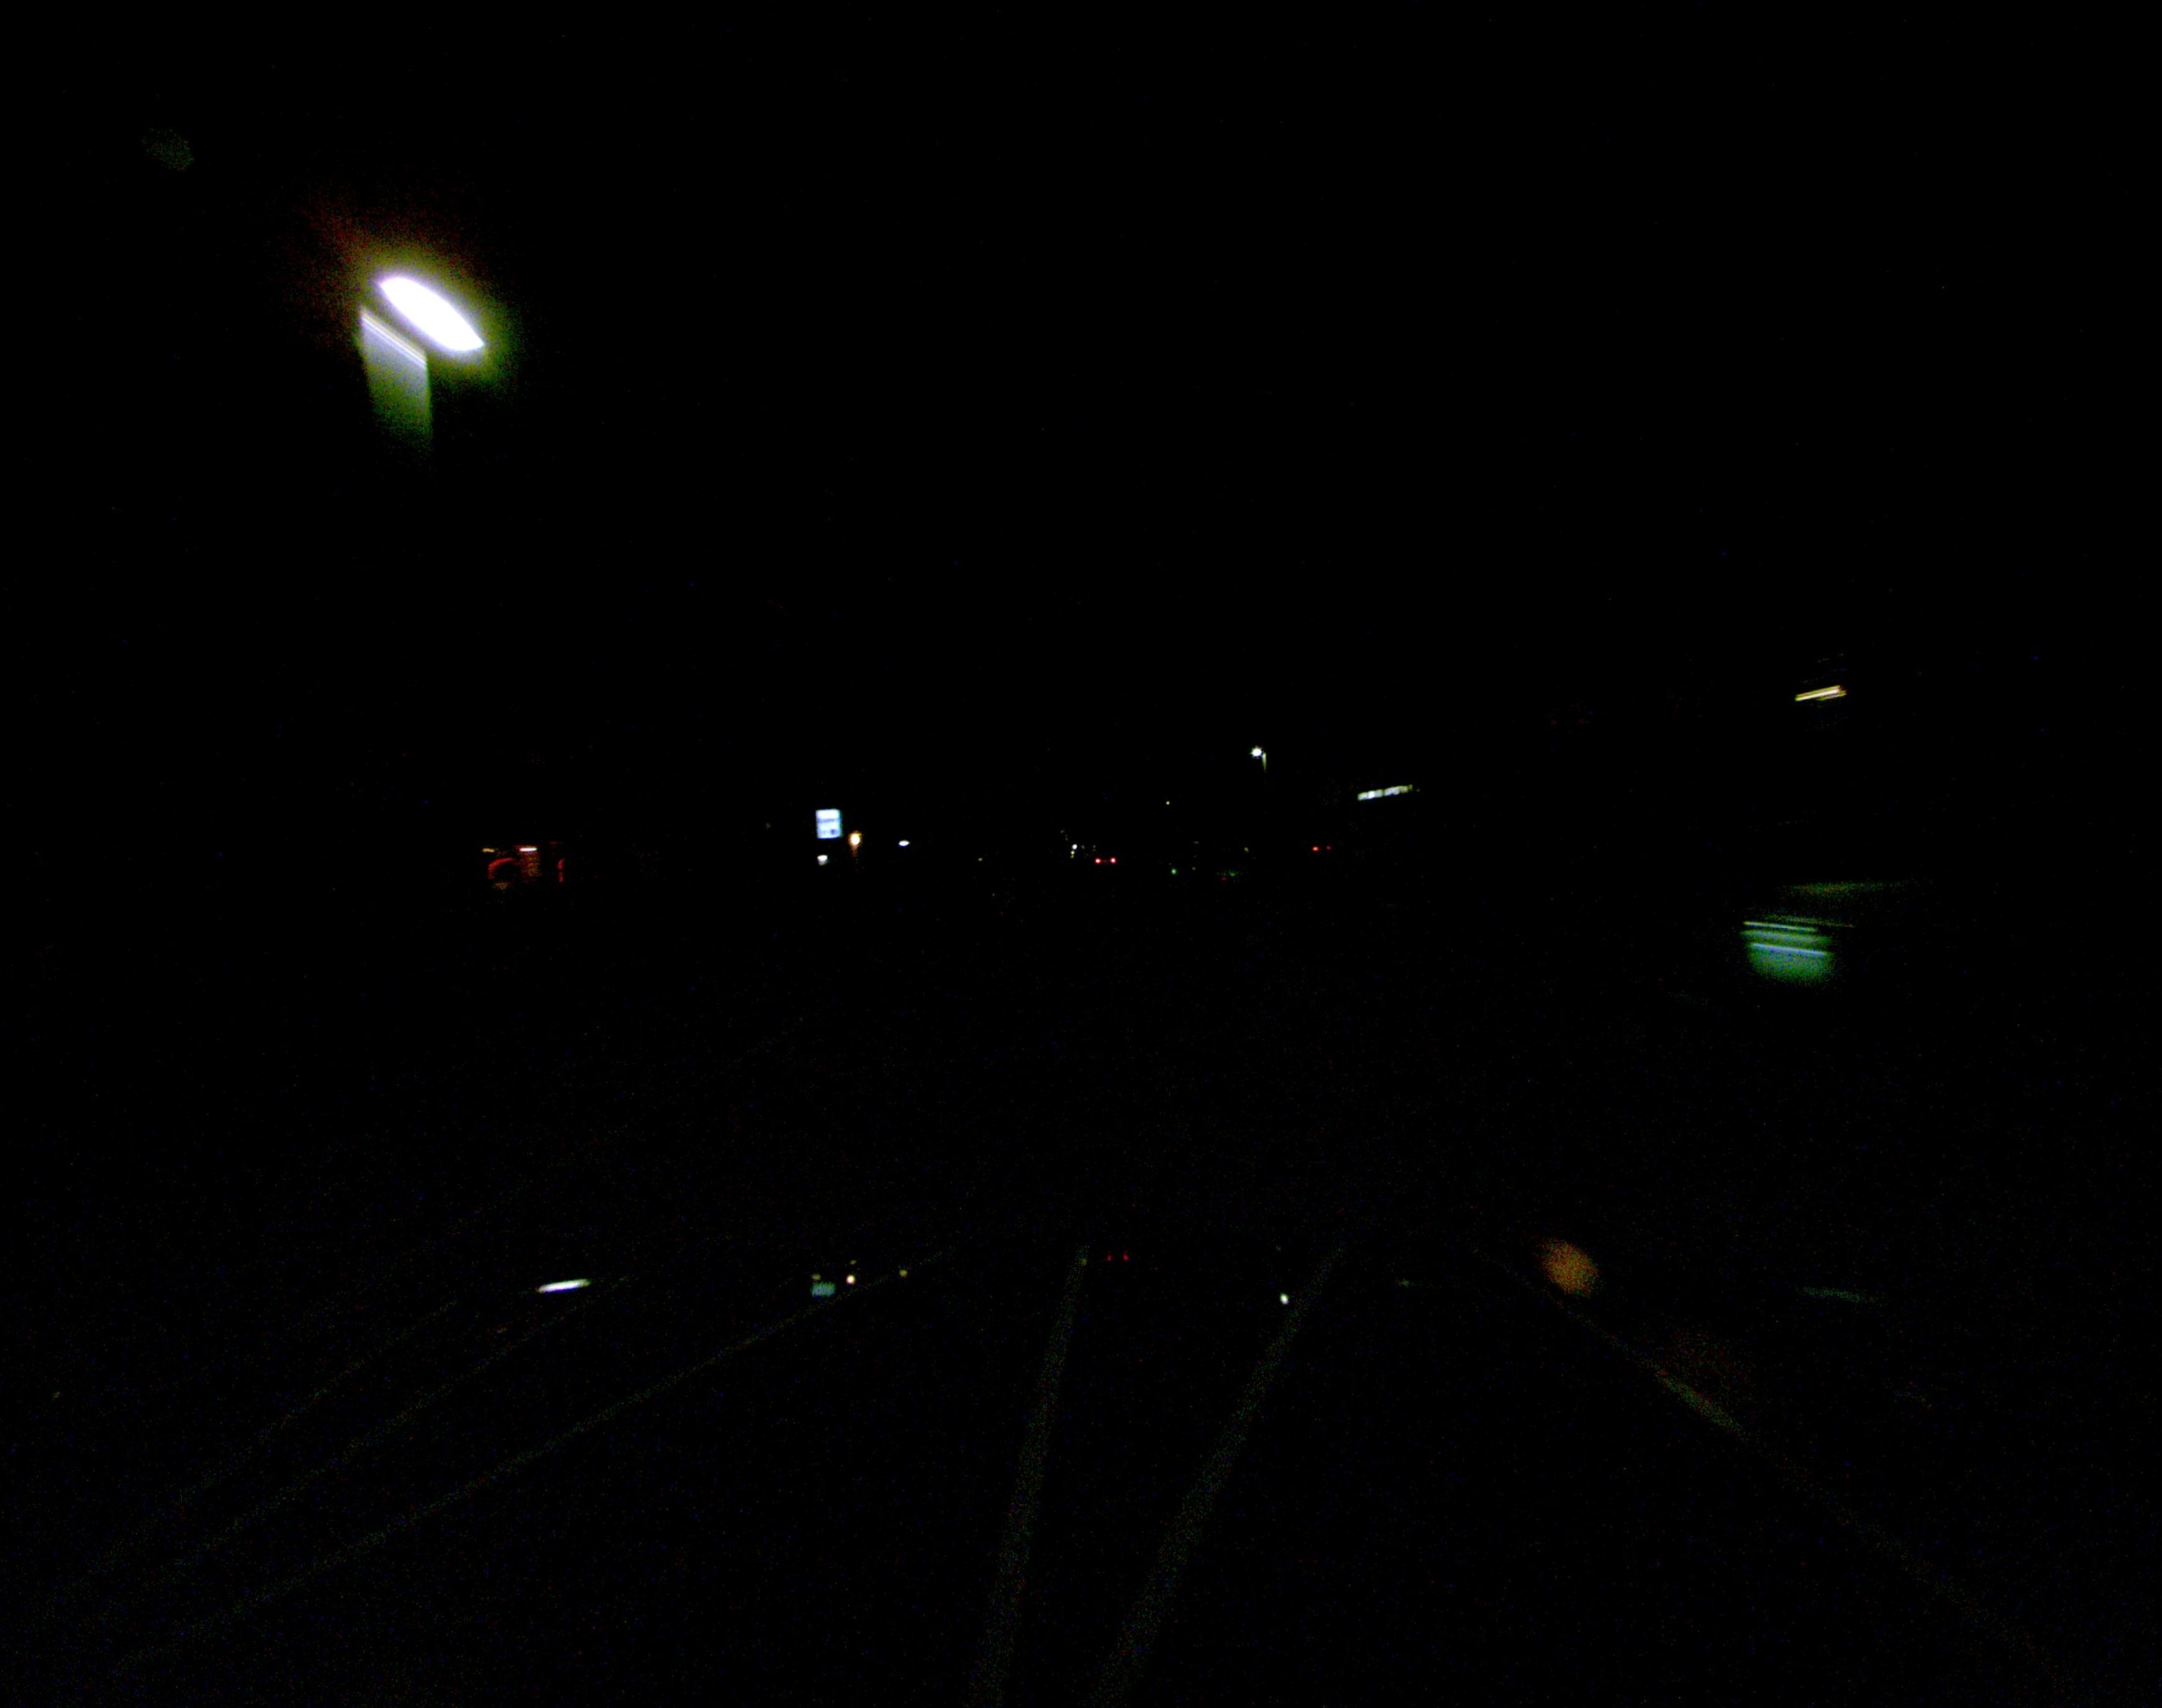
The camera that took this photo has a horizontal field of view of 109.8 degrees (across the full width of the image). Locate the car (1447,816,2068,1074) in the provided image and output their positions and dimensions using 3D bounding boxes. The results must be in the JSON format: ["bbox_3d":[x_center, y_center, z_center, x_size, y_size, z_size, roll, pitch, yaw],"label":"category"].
[{"bbox_3d":[5.681,0.617,7.388,1.933,1.627,4.470,-4,0,-1],"label":"car"}]

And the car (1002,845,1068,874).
[{"bbox_3d":[-3.703,0.430,61.789,5.156,2.084,2.259,-2,0,-1],"label":"car"}]

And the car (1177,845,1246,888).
[{"bbox_3d":[5.642,0.512,33.496,2.121,1.660,4.168,-4,0,-2],"label":"car"}]

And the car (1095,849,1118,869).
[{"bbox_3d":[2.315,0.460,70.234,1.724,1.705,3.960,-4,0,-3],"label":"car"}]

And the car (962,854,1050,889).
[{"bbox_3d":[-3.631,0.823,37.296,3.924,1.542,1.988,-2,0,4],"label":"car"}]

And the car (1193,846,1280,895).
[{"bbox_3d":[5.702,0.540,28.517,2.121,1.539,4.475,-5,1,-2],"label":"car"}]

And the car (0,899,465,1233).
[{"bbox_3d":[-6.418,1.101,4.550,3.914,1.477,1.832,-1,1,0],"label":"car"}]

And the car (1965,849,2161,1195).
[{"bbox_3d":[5.627,0.716,2.050,1.775,1.460,3.966,-4,0,-1],"label":"car"}]

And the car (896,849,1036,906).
[{"bbox_3d":[-3.919,0.782,26.362,4.364,1.805,2.032,-2,0,6],"label":"car"}]

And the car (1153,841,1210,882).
[{"bbox_3d":[5.272,0.390,40.395,2.121,1.935,4.887,-4,0,-2],"label":"car"}]

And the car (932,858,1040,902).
[{"bbox_3d":[-3.552,0.959,29.057,3.927,1.505,1.854,-2,0,-3],"label":"car"}]

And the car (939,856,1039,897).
[{"bbox_3d":[-3.763,0.925,31.604,3.926,1.505,1.854,-2,1,-1],"label":"car"}]

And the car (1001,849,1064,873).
[{"bbox_3d":[-4.109,0.567,64.599,5.156,1.834,2.259,-2,0,-1],"label":"car"}]
